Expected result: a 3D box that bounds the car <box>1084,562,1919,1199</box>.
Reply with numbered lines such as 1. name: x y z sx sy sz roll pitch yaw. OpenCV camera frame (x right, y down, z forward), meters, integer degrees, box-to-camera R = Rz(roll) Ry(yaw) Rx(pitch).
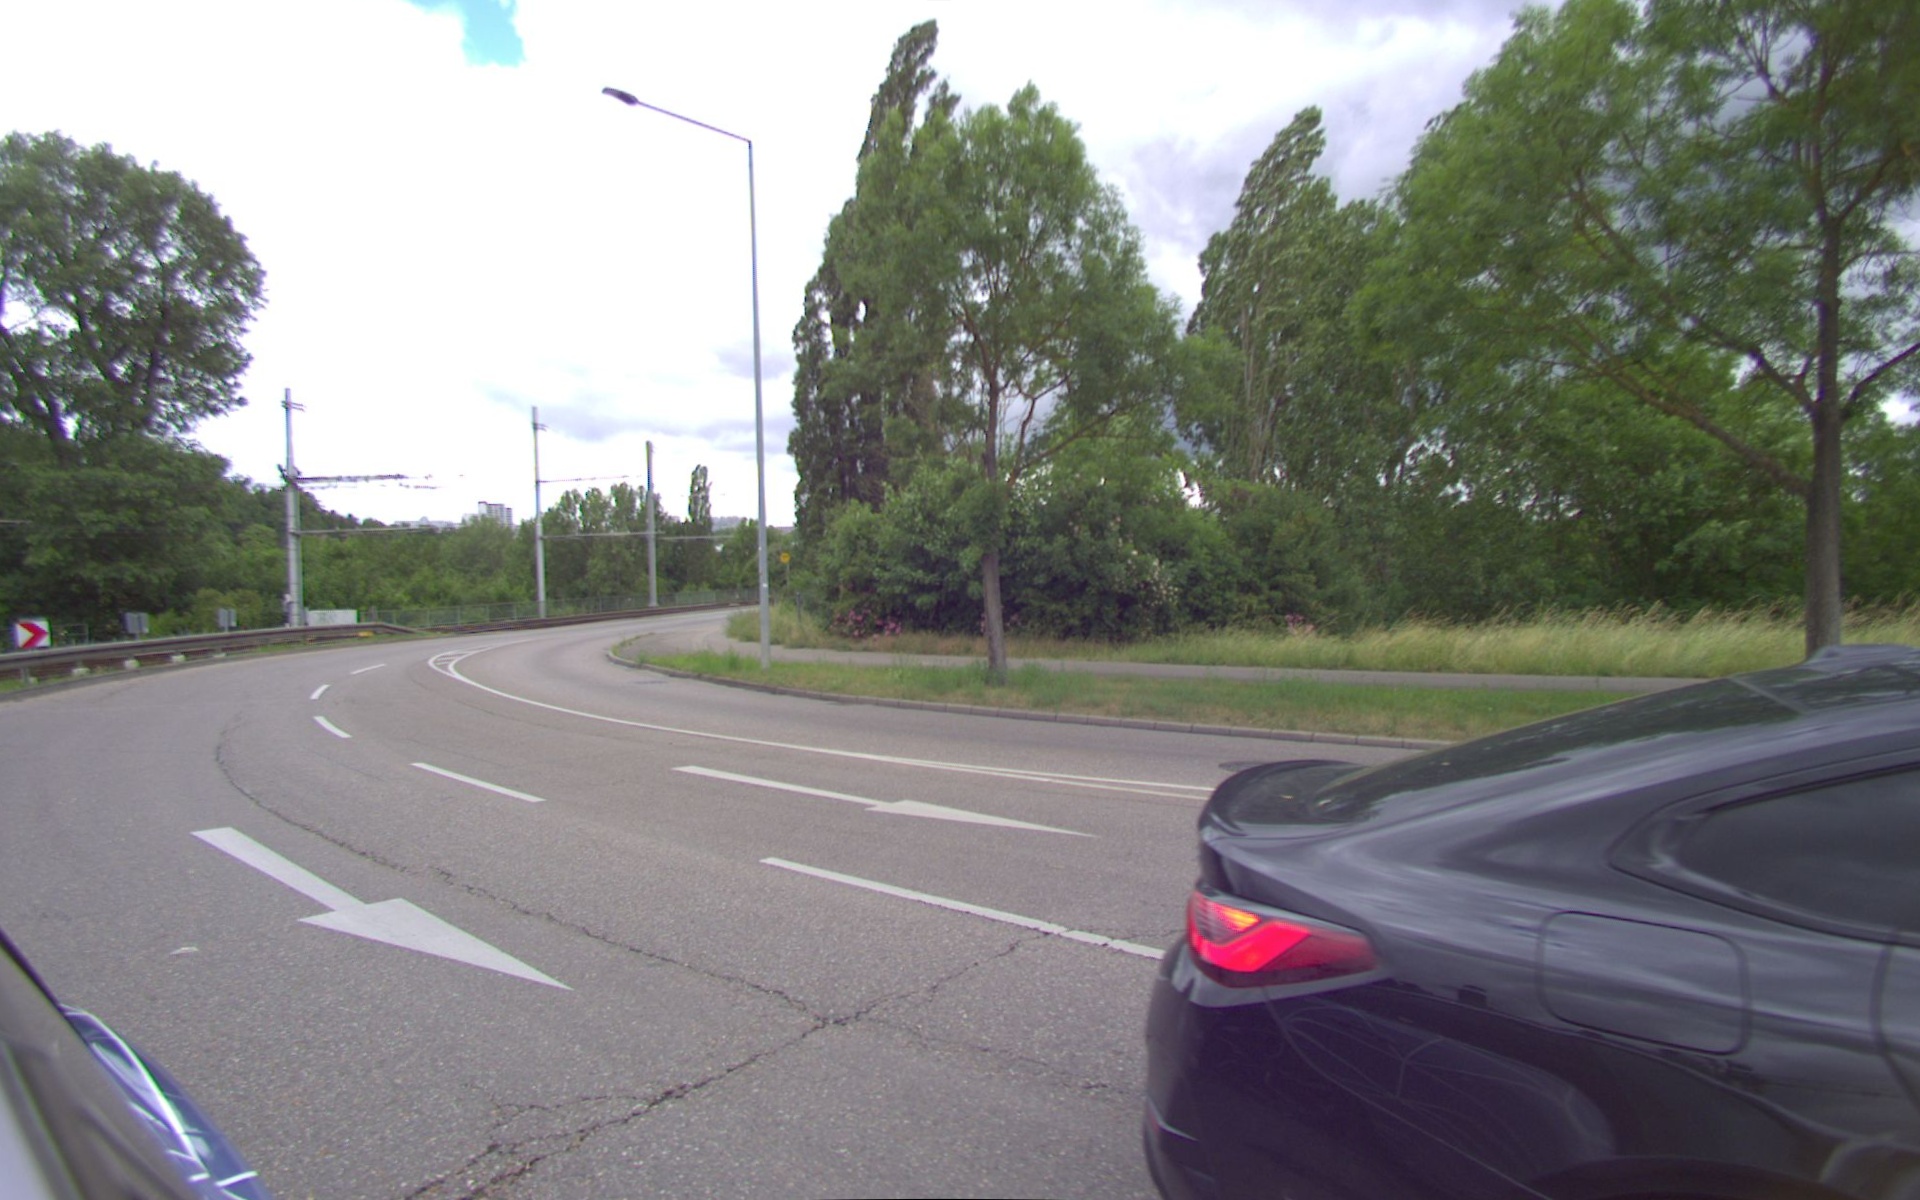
1. car: 2.779 0.692 1.162 4.950 1.488 1.857 -1 -2 34
